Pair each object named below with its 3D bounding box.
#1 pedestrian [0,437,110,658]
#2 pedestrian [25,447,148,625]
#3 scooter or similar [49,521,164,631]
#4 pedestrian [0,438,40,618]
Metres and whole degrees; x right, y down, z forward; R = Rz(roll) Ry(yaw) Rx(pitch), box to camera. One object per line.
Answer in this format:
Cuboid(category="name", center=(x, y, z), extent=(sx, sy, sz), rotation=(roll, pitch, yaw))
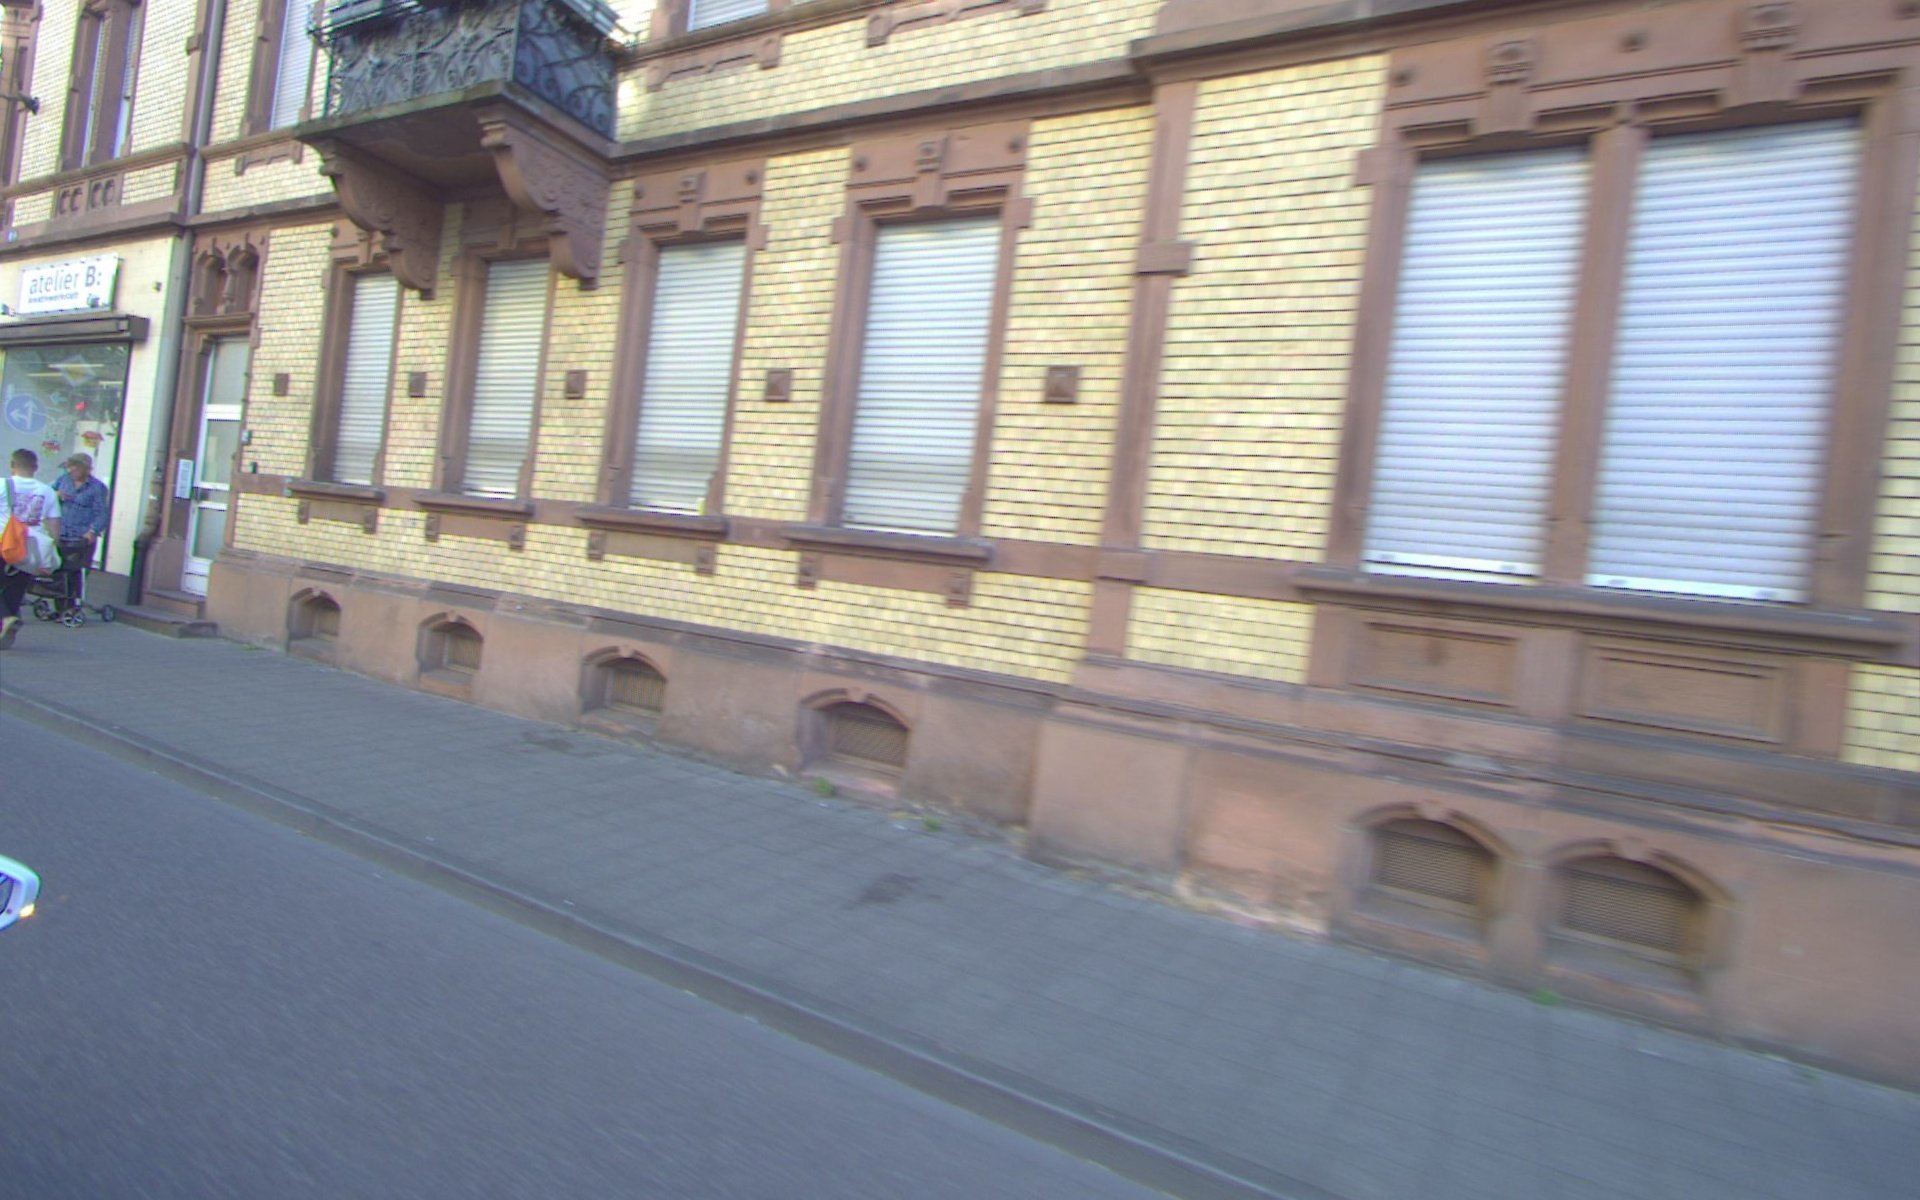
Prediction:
Cuboid(category="pedestrian", center=(-8.261, -0.493, 8.892), extent=(1.073, 1.826, 0.805), rotation=(8, 6, 29))
Cuboid(category="pedestrian", center=(-9.535, -0.691, 10.985), extent=(0.748, 1.826, 0.805), rotation=(8, 6, 30))
Cuboid(category="scooter or similar", center=(-9.042, -0.257, 10.672), extent=(0.512, 1.086, 0.805), rotation=(8, 6, 30))
Cuboid(category="pedestrian", center=(-10.585, -0.803, 10.929), extent=(0.659, 1.936, 0.690), rotation=(8, 6, 28))
